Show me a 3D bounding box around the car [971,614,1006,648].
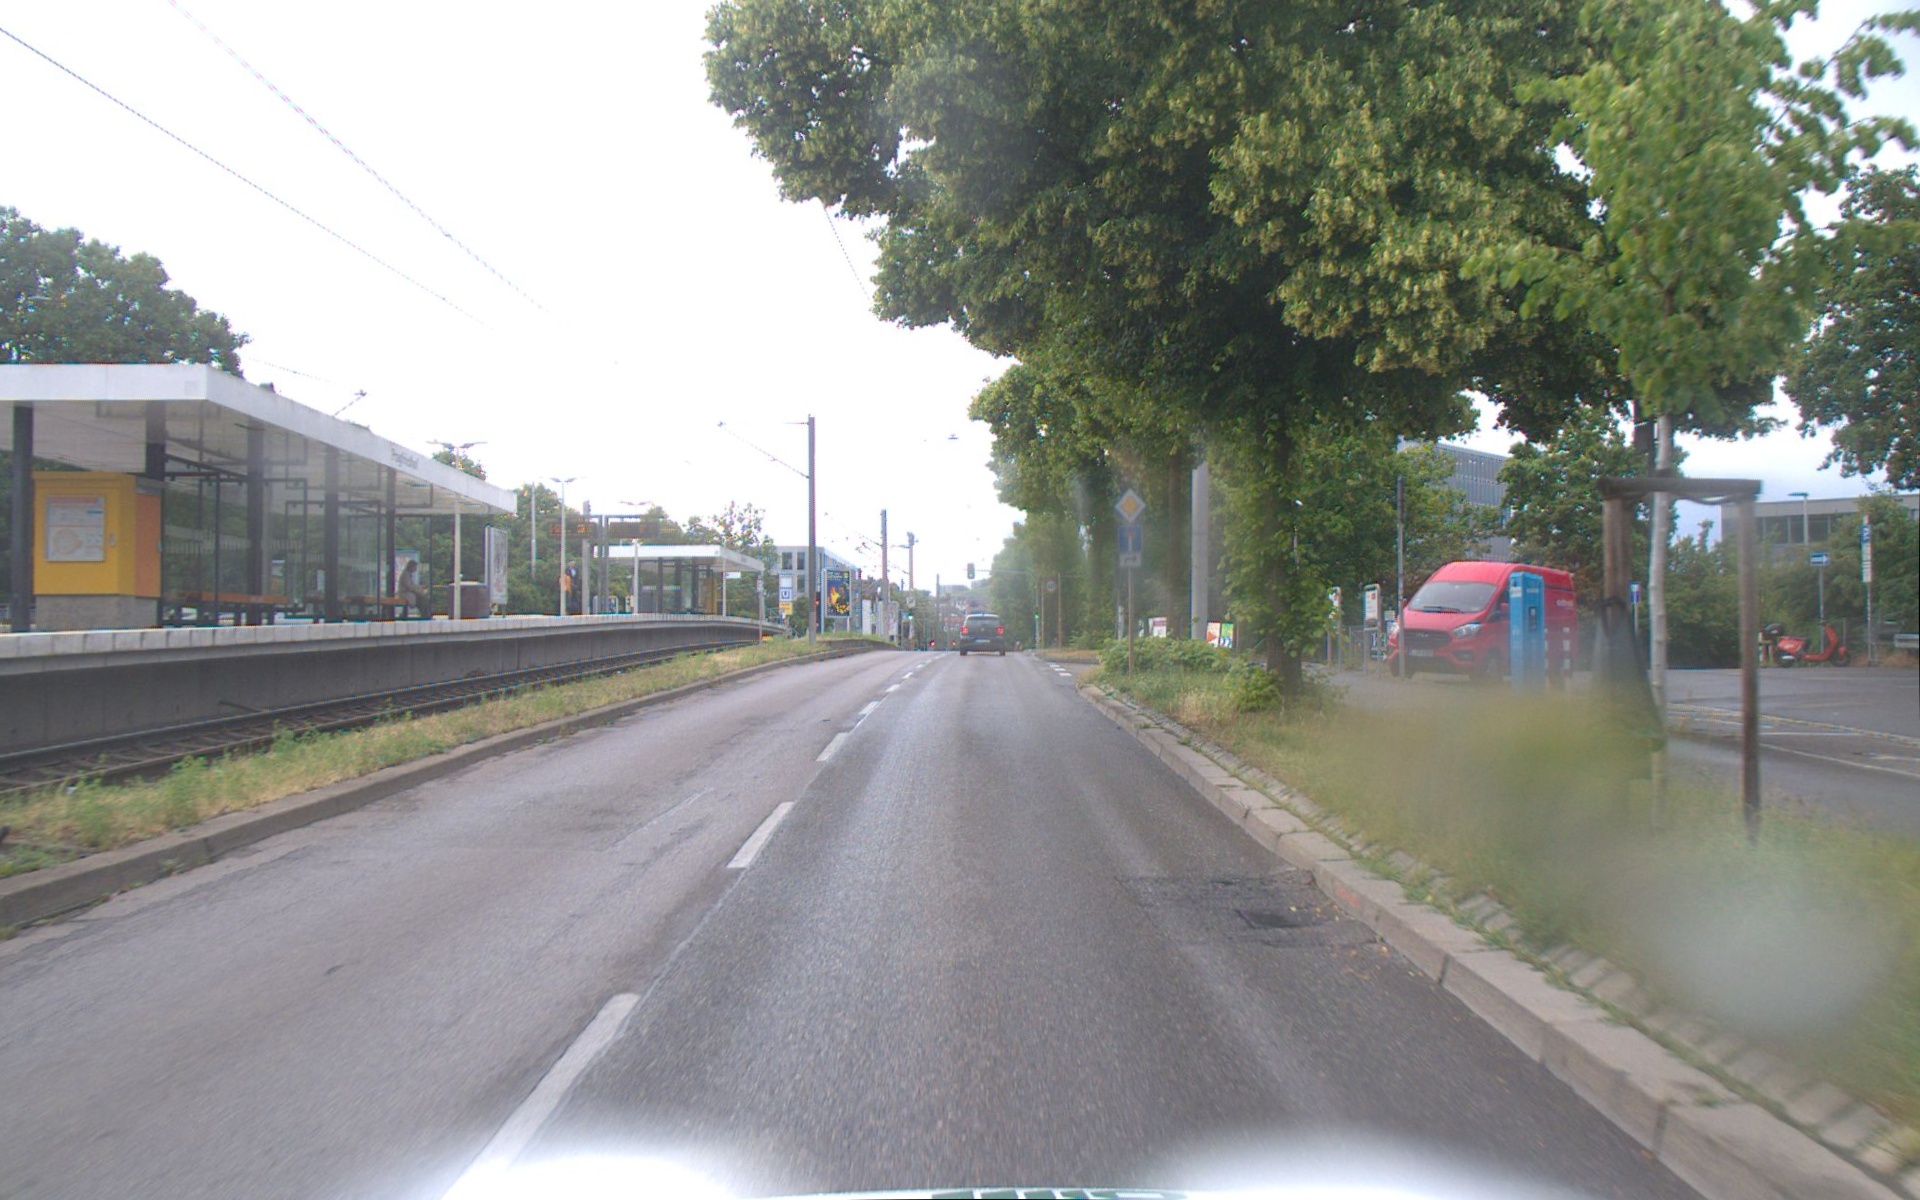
[{"bbox_3d":[1.377,1.518,82.016,1.653,1.544,4.000,0,0,0],"label":"car"}]

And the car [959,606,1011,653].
[{"bbox_3d":[0.869,1.039,59.442,1.692,1.567,3.999,0,0,-2],"label":"car"}]

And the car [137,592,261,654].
[{"bbox_3d":[-24.397,0.713,53.218,1.953,1.909,4.517,0,0,-1],"label":"car"}]

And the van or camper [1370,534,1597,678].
[{"bbox_3d":[10.198,0.175,31.936,2.006,2.448,5.357,4,0,42],"label":"van or camper"}]

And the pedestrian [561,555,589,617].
[{"bbox_3d":[-12.300,-0.455,52.854,0.732,1.942,0.837,1,1,-21],"label":"pedestrian"}]

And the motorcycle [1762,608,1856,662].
[{"bbox_3d":[21.081,0.886,41.107,1.986,1.235,0.471,-4,-8,40],"label":"motorcycle"}]

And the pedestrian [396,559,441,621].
[{"bbox_3d":[-11.057,-0.202,33.801,0.696,1.247,0.619,0,0,0],"label":"pedestrian"}]

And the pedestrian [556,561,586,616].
[{"bbox_3d":[-12.205,-0.367,51.877,0.783,1.675,0.913,1,1,-21],"label":"pedestrian"}]
